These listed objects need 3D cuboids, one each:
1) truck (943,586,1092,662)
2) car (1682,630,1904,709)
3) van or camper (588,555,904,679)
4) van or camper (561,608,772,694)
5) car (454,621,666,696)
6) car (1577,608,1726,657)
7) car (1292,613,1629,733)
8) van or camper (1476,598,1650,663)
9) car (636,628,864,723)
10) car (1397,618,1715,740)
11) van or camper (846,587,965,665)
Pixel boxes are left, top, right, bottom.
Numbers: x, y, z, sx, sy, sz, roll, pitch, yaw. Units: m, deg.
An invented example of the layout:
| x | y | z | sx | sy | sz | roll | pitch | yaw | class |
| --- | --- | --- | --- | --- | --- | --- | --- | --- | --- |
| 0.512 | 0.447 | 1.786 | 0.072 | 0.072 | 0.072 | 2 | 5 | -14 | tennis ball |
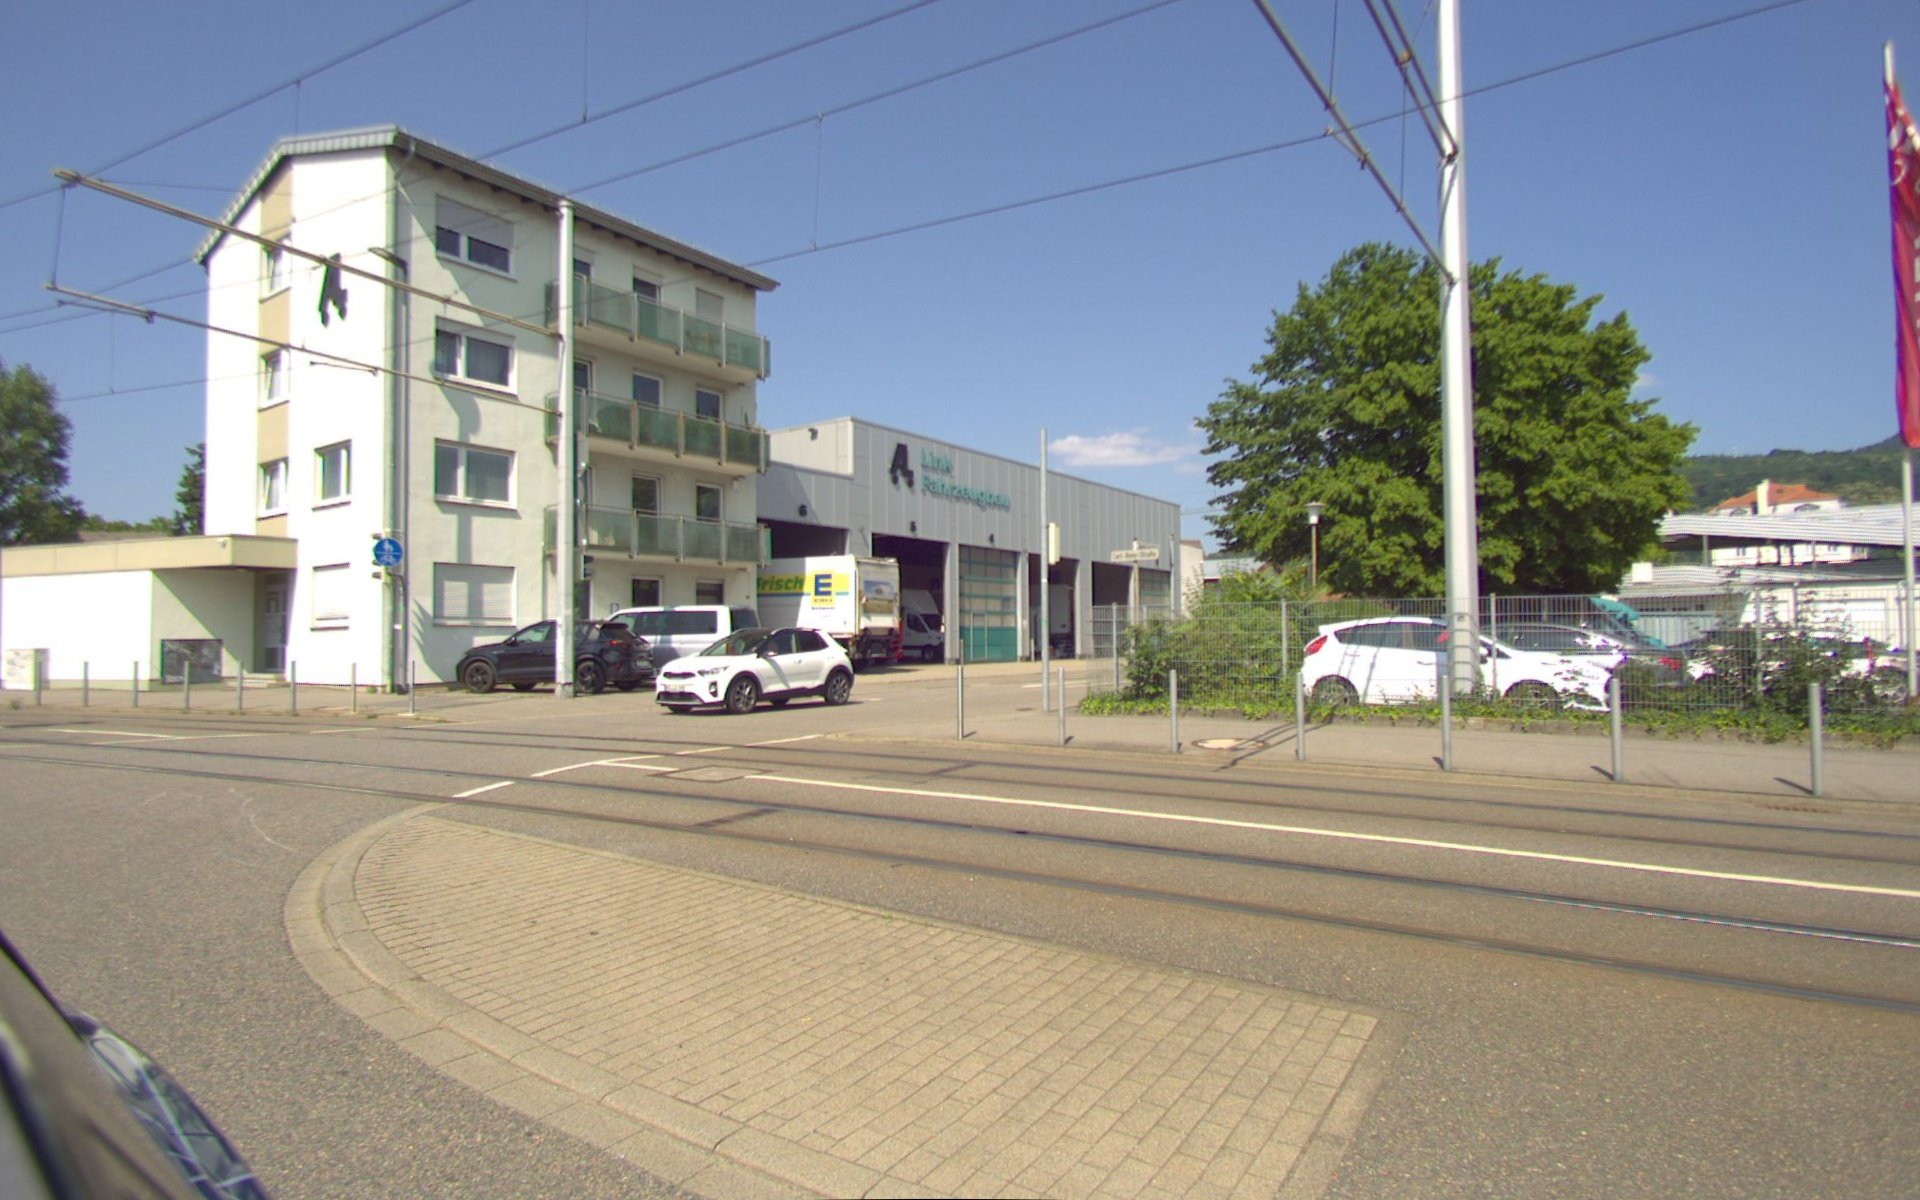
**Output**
| x | y | z | sx | sy | sz | roll | pitch | yaw | class |
| --- | --- | --- | --- | --- | --- | --- | --- | --- | --- |
| 2.953 | 1.328 | 53.855 | 7.847 | 3.811 | 2.592 | -2 | -3 | 37 | truck |
| 16.956 | 1.379 | 20.795 | 3.384 | 1.496 | 1.498 | -2 | -3 | 38 | car |
| -7.541 | 0.587 | 34.523 | 11.588 | 3.721 | 2.753 | 0 | -2 | 29 | van or camper |
| -7.009 | 1.209 | 24.297 | 4.515 | 1.922 | 1.990 | 0 | -3 | 16 | van or camper |
| -8.670 | 1.274 | 22.075 | 3.931 | 1.533 | 1.874 | -1 | -2 | 11 | car |
| 23.473 | 1.127 | 34.417 | 3.997 | 1.567 | 1.973 | -2 | -3 | 41 | car |
| 6.880 | 0.922 | 14.098 | 3.949 | 1.444 | 1.691 | -1 | -2 | 38 | car |
| 20.014 | 1.040 | 33.734 | 4.645 | 2.023 | 1.971 | -3 | -3 | 44 | van or camper |
| -3.730 | 1.303 | 18.610 | 1.733 | 1.542 | 4.061 | -2 | -3 | 34 | car |
| 9.079 | 1.187 | 15.635 | 1.743 | 1.634 | 3.839 | 1 | -4 | -44 | car |
| -2.425 | 1.176 | 44.307 | 5.045 | 3.230 | 1.977 | -3 | -3 | 34 | van or camper |
